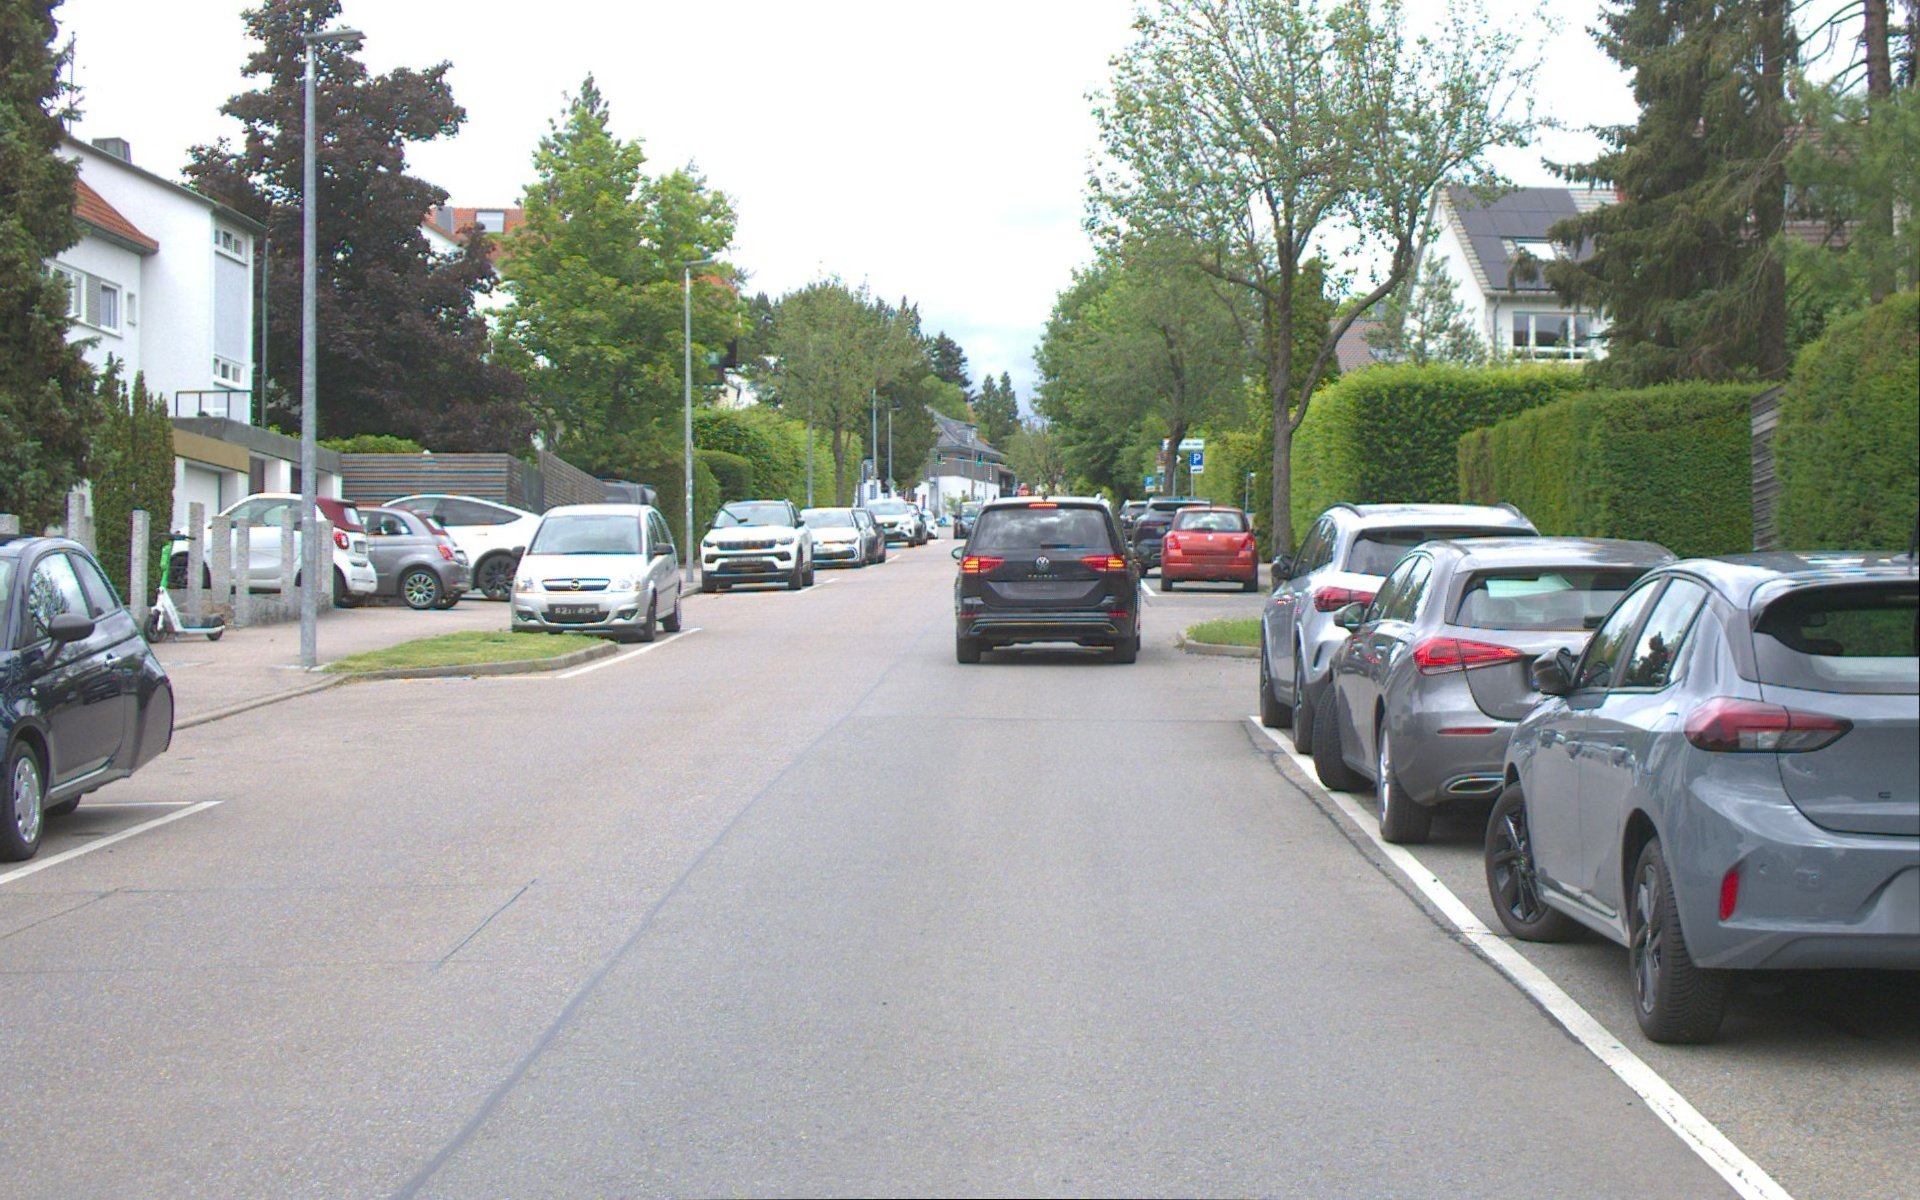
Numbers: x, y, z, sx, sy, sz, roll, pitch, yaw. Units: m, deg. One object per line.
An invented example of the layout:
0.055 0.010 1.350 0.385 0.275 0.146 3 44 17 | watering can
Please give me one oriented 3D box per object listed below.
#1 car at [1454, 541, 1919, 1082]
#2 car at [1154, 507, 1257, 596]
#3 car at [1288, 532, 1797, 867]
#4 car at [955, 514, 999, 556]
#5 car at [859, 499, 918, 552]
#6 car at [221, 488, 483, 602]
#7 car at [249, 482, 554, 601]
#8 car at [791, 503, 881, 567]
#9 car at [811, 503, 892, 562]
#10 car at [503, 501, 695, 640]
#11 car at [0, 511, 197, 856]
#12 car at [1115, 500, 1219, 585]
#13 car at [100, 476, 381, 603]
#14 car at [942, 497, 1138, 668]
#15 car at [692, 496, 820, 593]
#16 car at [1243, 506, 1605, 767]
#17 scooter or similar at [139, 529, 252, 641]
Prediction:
2.870 0.558 11.447 1.855 1.459 4.000 1 1 0 | car
4.299 -0.874 60.557 1.661 1.503 3.758 0 2 2 | car
2.804 0.403 17.458 1.855 1.459 4.172 1 1 0 | car
0.796 -2.973 156.596 1.885 1.844 4.402 -1 2 2 | car
-2.195 -2.312 106.048 1.722 1.535 4.000 -1 2 0 | car
-8.884 -0.800 50.417 3.429 1.507 1.692 2 0 3 | car
-8.759 -0.928 54.181 4.411 1.623 1.911 3 1 1 | car
-2.913 -1.564 81.666 1.837 1.417 4.408 -1 2 1 | car
-2.704 -1.699 86.599 1.727 1.418 4.079 -1 1 2 | car
-4.276 -0.389 41.253 1.761 1.557 3.855 -1 2 2 | car
-5.144 0.333 16.918 1.878 1.531 3.507 0 1 2 | car
4.202 -1.181 70.190 1.994 1.612 4.513 2 1 3 | car
-9.887 -0.825 47.369 3.429 1.572 1.656 2 0 3 | car
0.862 -0.211 34.742 1.848 1.606 4.311 0 1 3 | car
-3.700 -1.046 63.008 1.837 1.660 4.408 -1 2 3 | car
3.016 0.179 23.172 1.855 1.576 4.172 1 1 0 | car
-8.120 -0.171 36.567 0.474 1.144 1.453 2 2 18 | scooter or similar
